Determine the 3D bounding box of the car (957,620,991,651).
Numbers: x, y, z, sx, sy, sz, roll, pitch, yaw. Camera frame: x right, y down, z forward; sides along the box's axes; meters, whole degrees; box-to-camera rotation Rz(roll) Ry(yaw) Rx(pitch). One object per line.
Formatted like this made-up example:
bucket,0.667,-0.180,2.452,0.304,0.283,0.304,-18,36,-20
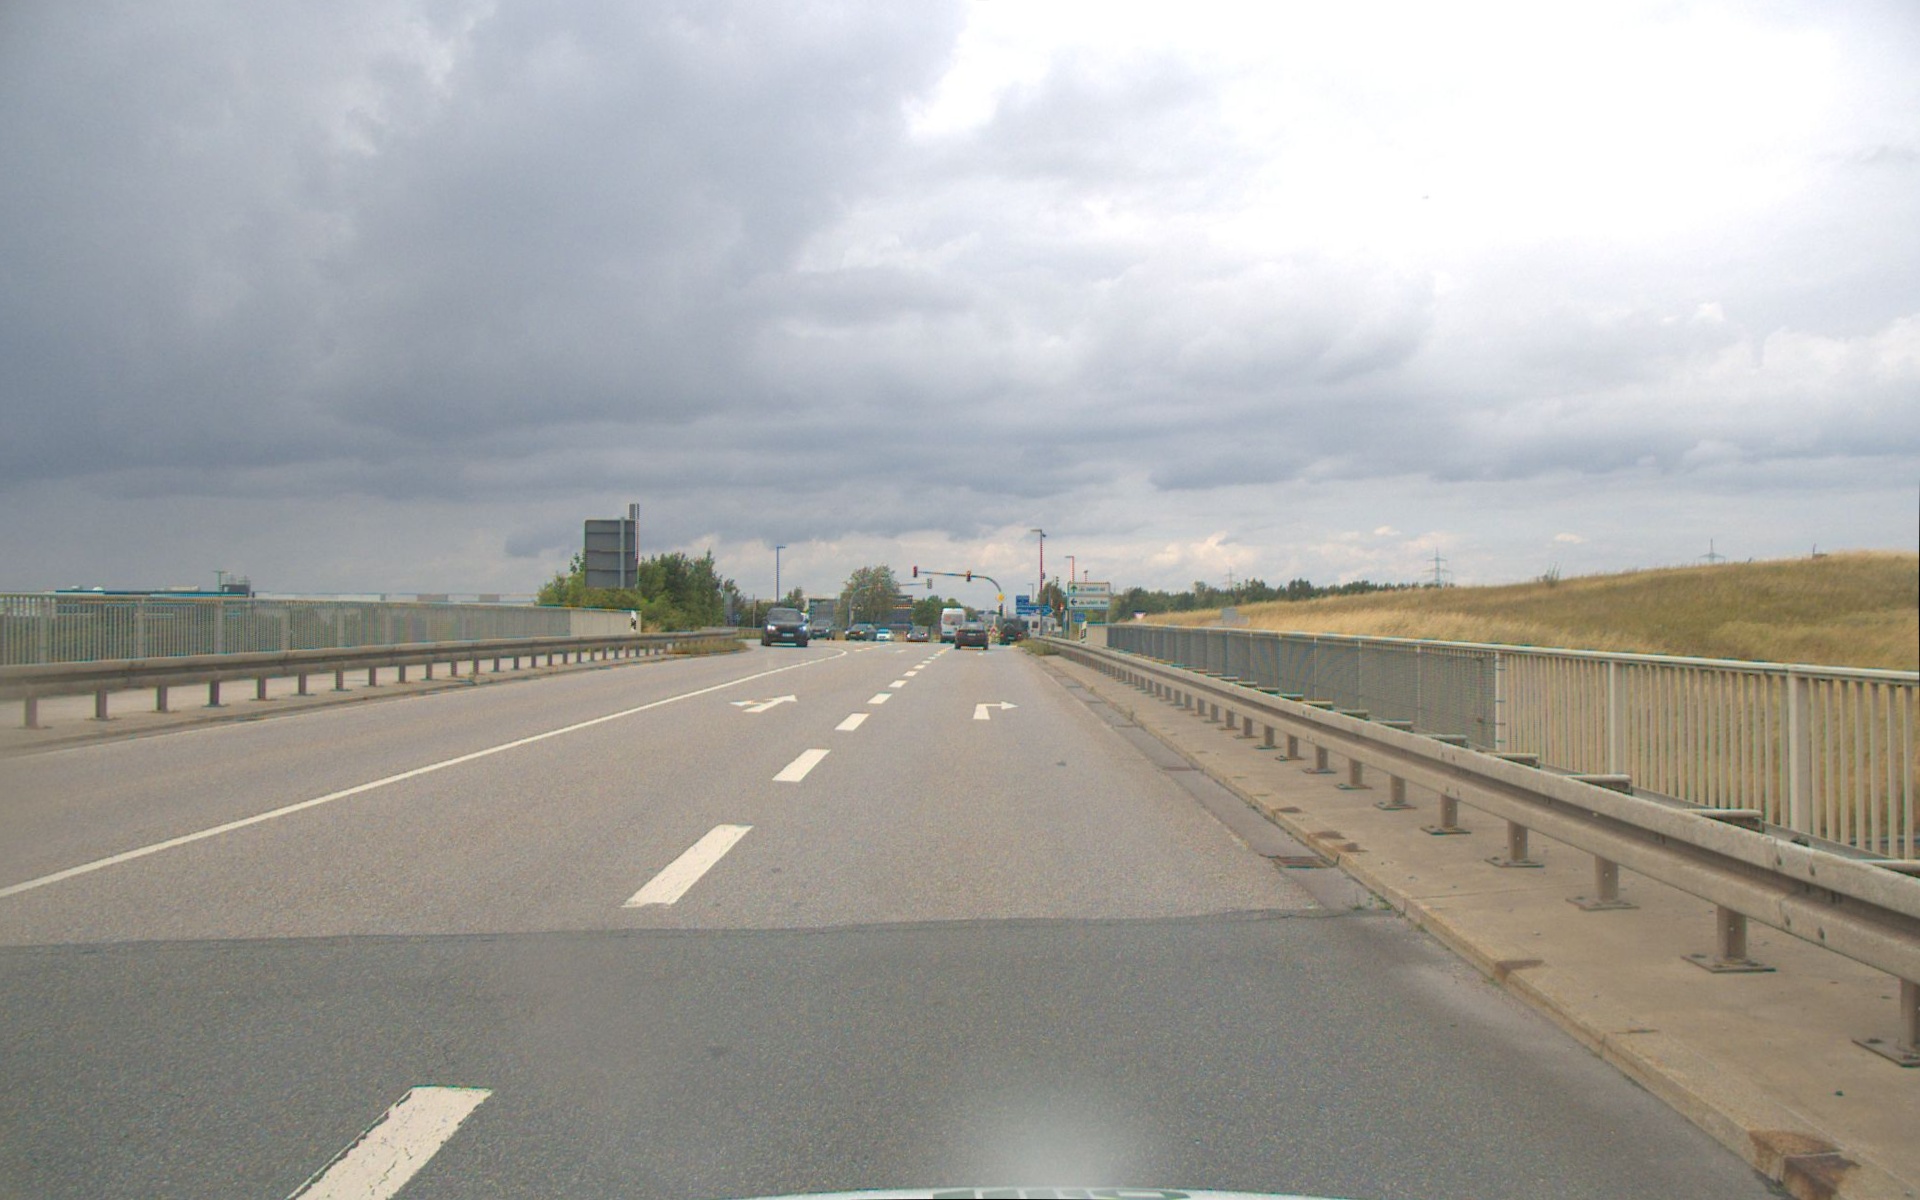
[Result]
car,0.730,1.757,82.027,1.486,1.511,3.617,0,-1,4

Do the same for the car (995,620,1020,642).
car,3.501,2.256,121.684,1.646,1.571,3.617,0,-1,4

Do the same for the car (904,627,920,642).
car,-5.399,3.829,185.582,1.659,1.392,3.943,1,2,-1

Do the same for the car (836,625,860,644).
car,-9.718,3.001,143.943,1.772,1.392,4.785,1,2,-1

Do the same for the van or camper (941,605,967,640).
van or camper,-0.432,1.722,126.895,1.837,2.626,4.000,2,-1,1

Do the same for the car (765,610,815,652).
car,-7.807,1.437,76.349,1.954,1.762,4.758,3,-1,-3

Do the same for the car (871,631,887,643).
car,-9.095,4.186,186.224,1.450,1.305,3.534,1,-1,2

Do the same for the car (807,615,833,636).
car,-10.885,2.003,128.737,1.549,1.585,4.147,1,-1,2
